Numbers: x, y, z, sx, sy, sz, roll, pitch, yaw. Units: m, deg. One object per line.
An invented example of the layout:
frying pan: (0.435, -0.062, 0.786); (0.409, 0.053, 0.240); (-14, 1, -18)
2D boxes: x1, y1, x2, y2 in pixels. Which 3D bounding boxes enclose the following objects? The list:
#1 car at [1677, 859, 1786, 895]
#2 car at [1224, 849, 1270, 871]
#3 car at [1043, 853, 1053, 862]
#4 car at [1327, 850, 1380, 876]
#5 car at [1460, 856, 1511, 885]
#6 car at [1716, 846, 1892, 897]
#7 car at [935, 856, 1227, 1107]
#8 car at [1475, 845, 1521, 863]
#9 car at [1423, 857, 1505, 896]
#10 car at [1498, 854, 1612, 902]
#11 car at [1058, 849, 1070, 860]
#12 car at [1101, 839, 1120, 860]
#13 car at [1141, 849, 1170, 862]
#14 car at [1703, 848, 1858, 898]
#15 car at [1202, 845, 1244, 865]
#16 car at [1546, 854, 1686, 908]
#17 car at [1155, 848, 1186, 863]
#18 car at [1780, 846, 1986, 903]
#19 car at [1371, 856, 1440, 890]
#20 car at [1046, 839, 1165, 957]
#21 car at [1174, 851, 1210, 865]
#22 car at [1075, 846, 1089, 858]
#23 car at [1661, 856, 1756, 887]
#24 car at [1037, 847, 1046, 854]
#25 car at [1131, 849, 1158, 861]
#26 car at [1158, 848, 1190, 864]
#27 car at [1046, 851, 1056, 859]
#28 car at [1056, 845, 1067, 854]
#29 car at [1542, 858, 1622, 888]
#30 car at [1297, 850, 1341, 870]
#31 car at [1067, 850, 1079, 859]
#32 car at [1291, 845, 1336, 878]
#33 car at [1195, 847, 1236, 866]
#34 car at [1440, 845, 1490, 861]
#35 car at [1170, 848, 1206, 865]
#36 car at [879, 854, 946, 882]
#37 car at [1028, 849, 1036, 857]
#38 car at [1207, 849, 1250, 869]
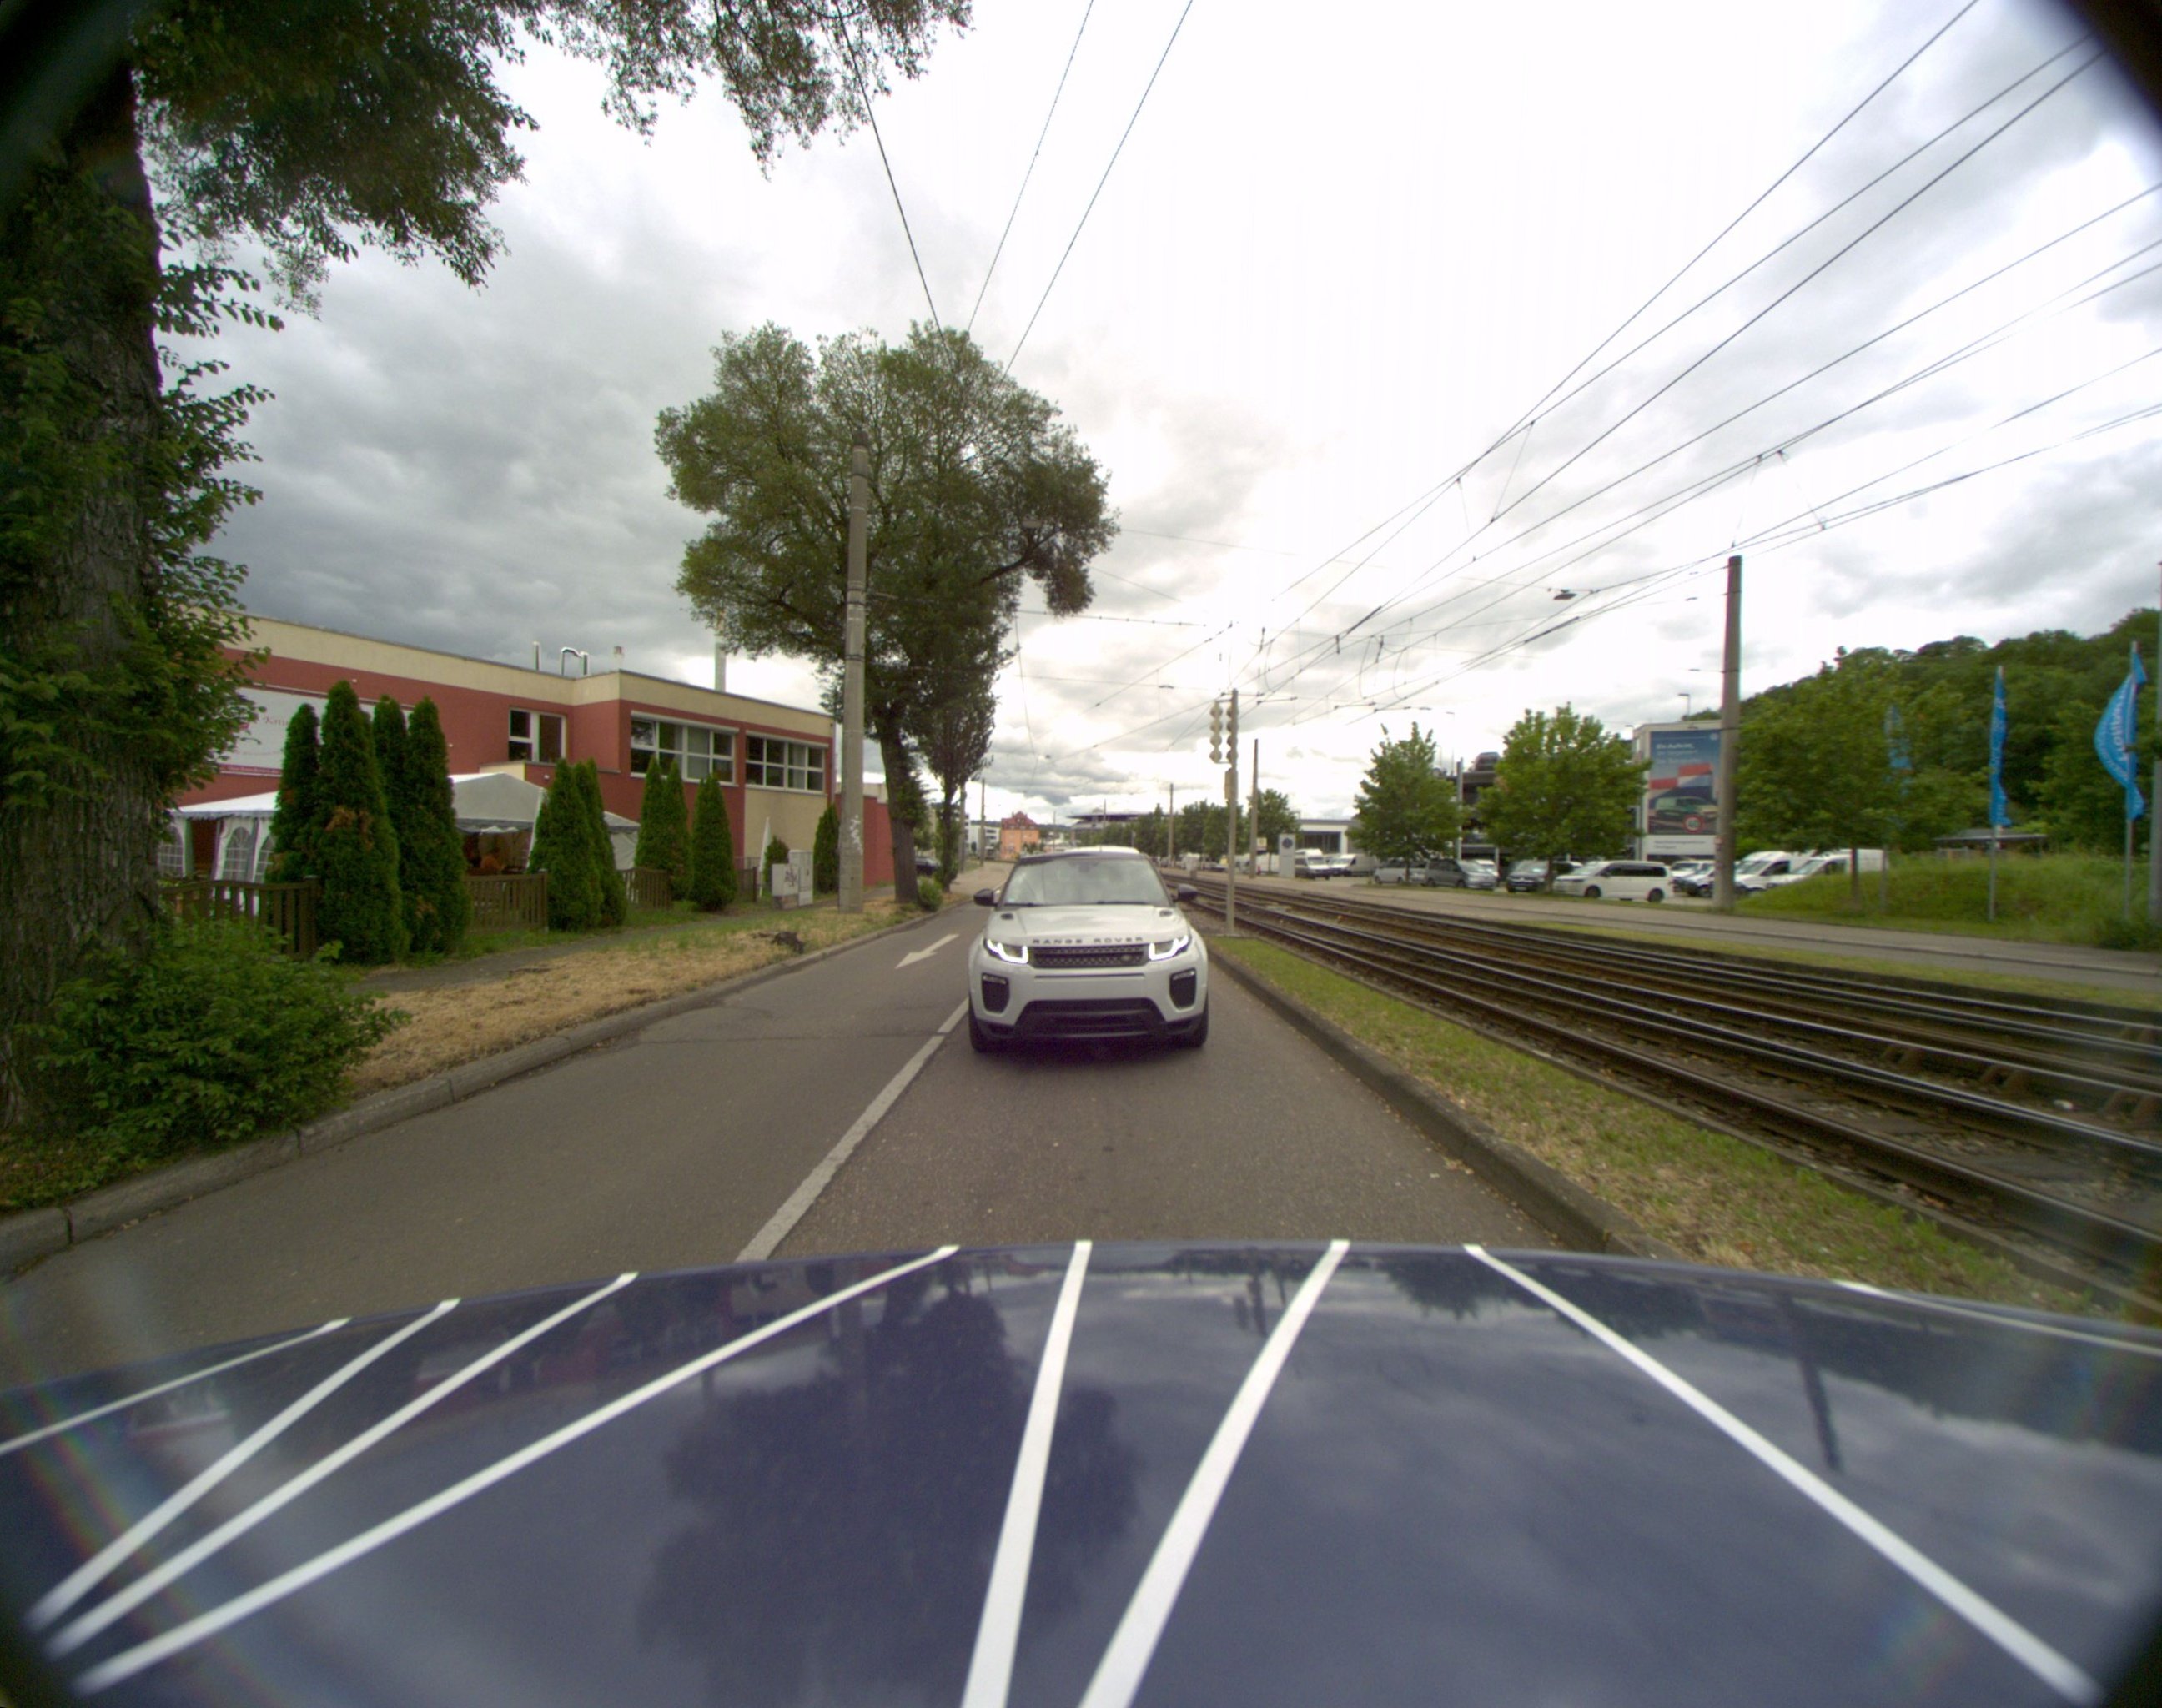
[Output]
car: (36.661, 1.277, 42.982); (4.228, 1.826, 1.983); (-2, 1, 19)
car: (18.802, 0.662, 86.088); (4.639, 2.196, 2.107); (-2, 1, -8)
car: (-7.387, 0.758, 170.130); (2.000, 2.002, 3.997); (-2, 1, -7)
car: (30.328, 0.964, 84.561); (6.057, 2.608, 2.316); (-3, 1, -34)
car: (28.885, 1.141, 54.406); (1.900, 1.882, 4.600); (-2, 1, 12)
car: (34.903, 0.853, 36.931); (5.839, 2.254, 2.056); (-2, 1, 22)
car: (0.002, 0.888, 7.357); (1.998, 1.680, 4.268); (0, 1, 0)
car: (47.197, -0.042, 86.081); (4.227, 1.826, 1.983); (-2, 1, 21)
car: (23.002, 1.281, 45.873); (2.142, 2.104, 4.773); (-2, 1, -7)
car: (24.686, 1.202, 39.661); (4.774, 2.254, 1.979); (-2, 1, -3)
car: (-3.507, 0.069, 155.819); (2.000, 2.002, 3.997); (-2, 1, -7)
car: (4.353, -0.693, 113.243); (2.410, 2.931, 4.747); (-2, 1, -2)
car: (13.013, 0.230, 132.834); (4.639, 2.196, 2.107); (-2, 1, -8)
car: (36.603, 1.003, 39.979); (5.652, 2.446, 1.983); (-2, 1, 19)
car: (17.493, 0.131, 93.608); (4.639, 2.196, 2.107); (-2, 1, -8)
car: (25.263, 1.235, 35.995); (5.269, 2.254, 1.999); (-2, 1, -3)
car: (14.483, 0.285, 122.917); (4.639, 2.196, 2.107); (-2, 1, -8)
car: (34.679, 0.904, 33.124); (5.850, 2.254, 2.056); (-2, 1, 22)
car: (22.132, 1.246, 52.101); (2.142, 2.104, 4.772); (-2, 1, -8)
car: (0.409, 0.718, 15.311); (1.998, 1.990, 5.033); (0, 1, 0)
car: (15.774, 0.584, 108.151); (4.639, 1.829, 2.107); (-2, 1, -8)
car: (0.148, -0.420, 132.400); (2.000, 2.002, 3.997); (-2, 1, -7)
car: (39.881, 1.113, 48.395); (4.228, 1.826, 1.983); (-2, 1, 19)
car: (-10.636, -0.976, 205.067); (2.000, 2.002, 3.997); (-2, 1, -7)
car: (11.848, 0.179, 141.316); (4.639, 2.196, 2.107); (-2, 1, -8)
car: (14.760, 0.301, 120.482); (4.639, 2.196, 2.107); (-2, 1, -8)
car: (-7.574, 0.300, 192.088); (2.000, 2.002, 3.997); (-2, 1, -7)
car: (-4.637, -1.060, 178.509); (2.000, 2.002, 3.997); (-2, 1, -7)
car: (34.404, 1.294, 52.313); (4.228, 1.826, 1.983); (-2, 1, 19)
car: (29.121, 0.710, 93.024); (4.636, 2.196, 2.108); (-2, 1, -1)
car: (-1.735, 0.114, 165.263); (2.000, 2.002, 3.997); (-2, 1, -7)
car: (22.406, 0.668, 73.591); (2.320, 2.994, 6.157); (-2, 1, 0)
car: (17.072, 0.312, 96.392); (4.639, 2.196, 2.107); (-2, 1, -8)
car: (46.340, -0.122, 91.796); (5.216, 1.826, 1.983); (-2, 1, 21)
car: (15.539, 0.383, 110.557); (4.639, 2.196, 2.107); (-2, 1, -8)
car: (-10.954, 0.892, 49.564); (3.999, 1.636, 1.895); (-2, 1, -6)
car: (-12.661, -0.272, 196.163); (2.000, 2.002, 3.997); (-2, 1, -7)
car: (17.701, 0.597, 91.172); (4.639, 2.196, 2.107); (-2, 1, -8)
